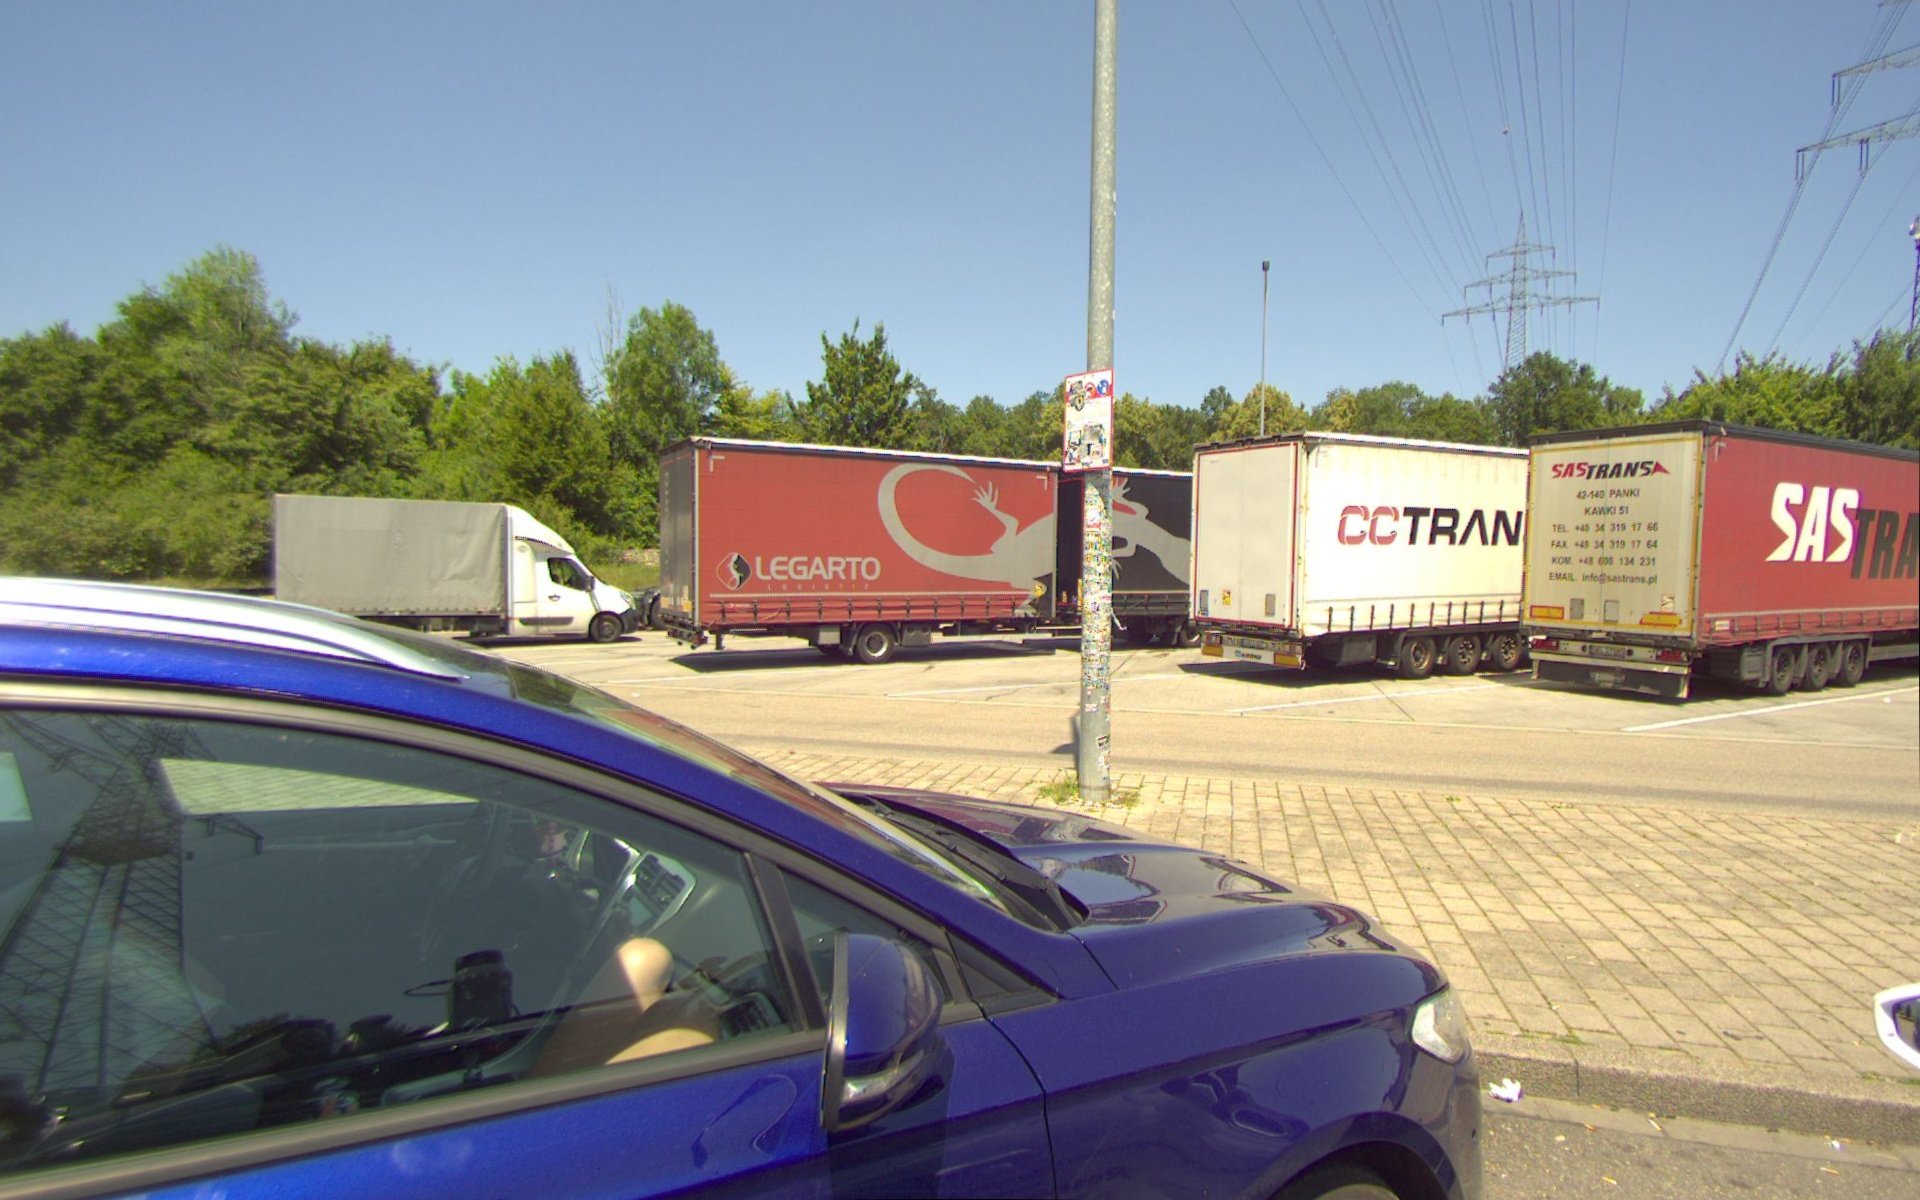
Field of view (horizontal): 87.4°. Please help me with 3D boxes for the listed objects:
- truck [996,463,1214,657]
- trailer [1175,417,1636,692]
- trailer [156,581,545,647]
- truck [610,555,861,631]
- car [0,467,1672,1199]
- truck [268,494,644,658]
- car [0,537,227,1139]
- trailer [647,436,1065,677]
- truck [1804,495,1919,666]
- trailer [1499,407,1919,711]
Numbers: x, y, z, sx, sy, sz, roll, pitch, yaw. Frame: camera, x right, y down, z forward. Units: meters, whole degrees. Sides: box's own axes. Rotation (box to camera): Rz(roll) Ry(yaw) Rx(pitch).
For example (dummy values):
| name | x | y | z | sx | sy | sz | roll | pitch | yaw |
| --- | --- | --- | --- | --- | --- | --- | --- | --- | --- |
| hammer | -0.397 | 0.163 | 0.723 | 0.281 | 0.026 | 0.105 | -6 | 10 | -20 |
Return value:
| name | x | y | z | sx | sy | sz | roll | pitch | yaw |
| --- | --- | --- | --- | --- | --- | --- | --- | --- | --- |
| truck | 3.353 | -0.908 | 23.353 | 4.273 | 4.072 | 2.689 | -1 | 3 | -30 |
| trailer | 8.864 | -0.822 | 19.319 | 10.049 | 4.268 | 2.714 | -1 | 3 | -30 |
| trailer | -14.834 | 0.255 | 25.177 | 7.996 | 1.394 | 2.211 | -1 | 3 | -30 |
| truck | -6.485 | -0.169 | 29.517 | 6.961 | 2.040 | 1.984 | 0 | 0 | -30 |
| car | -0.982 | 0.659 | 1.462 | 4.592 | 1.502 | 1.727 | 0 | 0 | -33 |
| truck | -11.205 | -0.576 | 22.894 | 7.254 | 3.254 | 2.515 | -1 | 3 | -30 |
| car | -4.555 | 0.586 | 2.246 | 4.592 | 1.554 | 1.726 | 0 | 1 | -33 |
| trailer | -1.929 | -0.833 | 20.258 | 7.996 | 4.101 | 2.696 | -1 | 3 | -30 |
| truck | 21.724 | -0.434 | 22.300 | 5.418 | 3.475 | 2.838 | -1 | 3 | -30 |
| trailer | 15.403 | -0.705 | 18.555 | 13.559 | 4.189 | 2.892 | -1 | 3 | -30 |
